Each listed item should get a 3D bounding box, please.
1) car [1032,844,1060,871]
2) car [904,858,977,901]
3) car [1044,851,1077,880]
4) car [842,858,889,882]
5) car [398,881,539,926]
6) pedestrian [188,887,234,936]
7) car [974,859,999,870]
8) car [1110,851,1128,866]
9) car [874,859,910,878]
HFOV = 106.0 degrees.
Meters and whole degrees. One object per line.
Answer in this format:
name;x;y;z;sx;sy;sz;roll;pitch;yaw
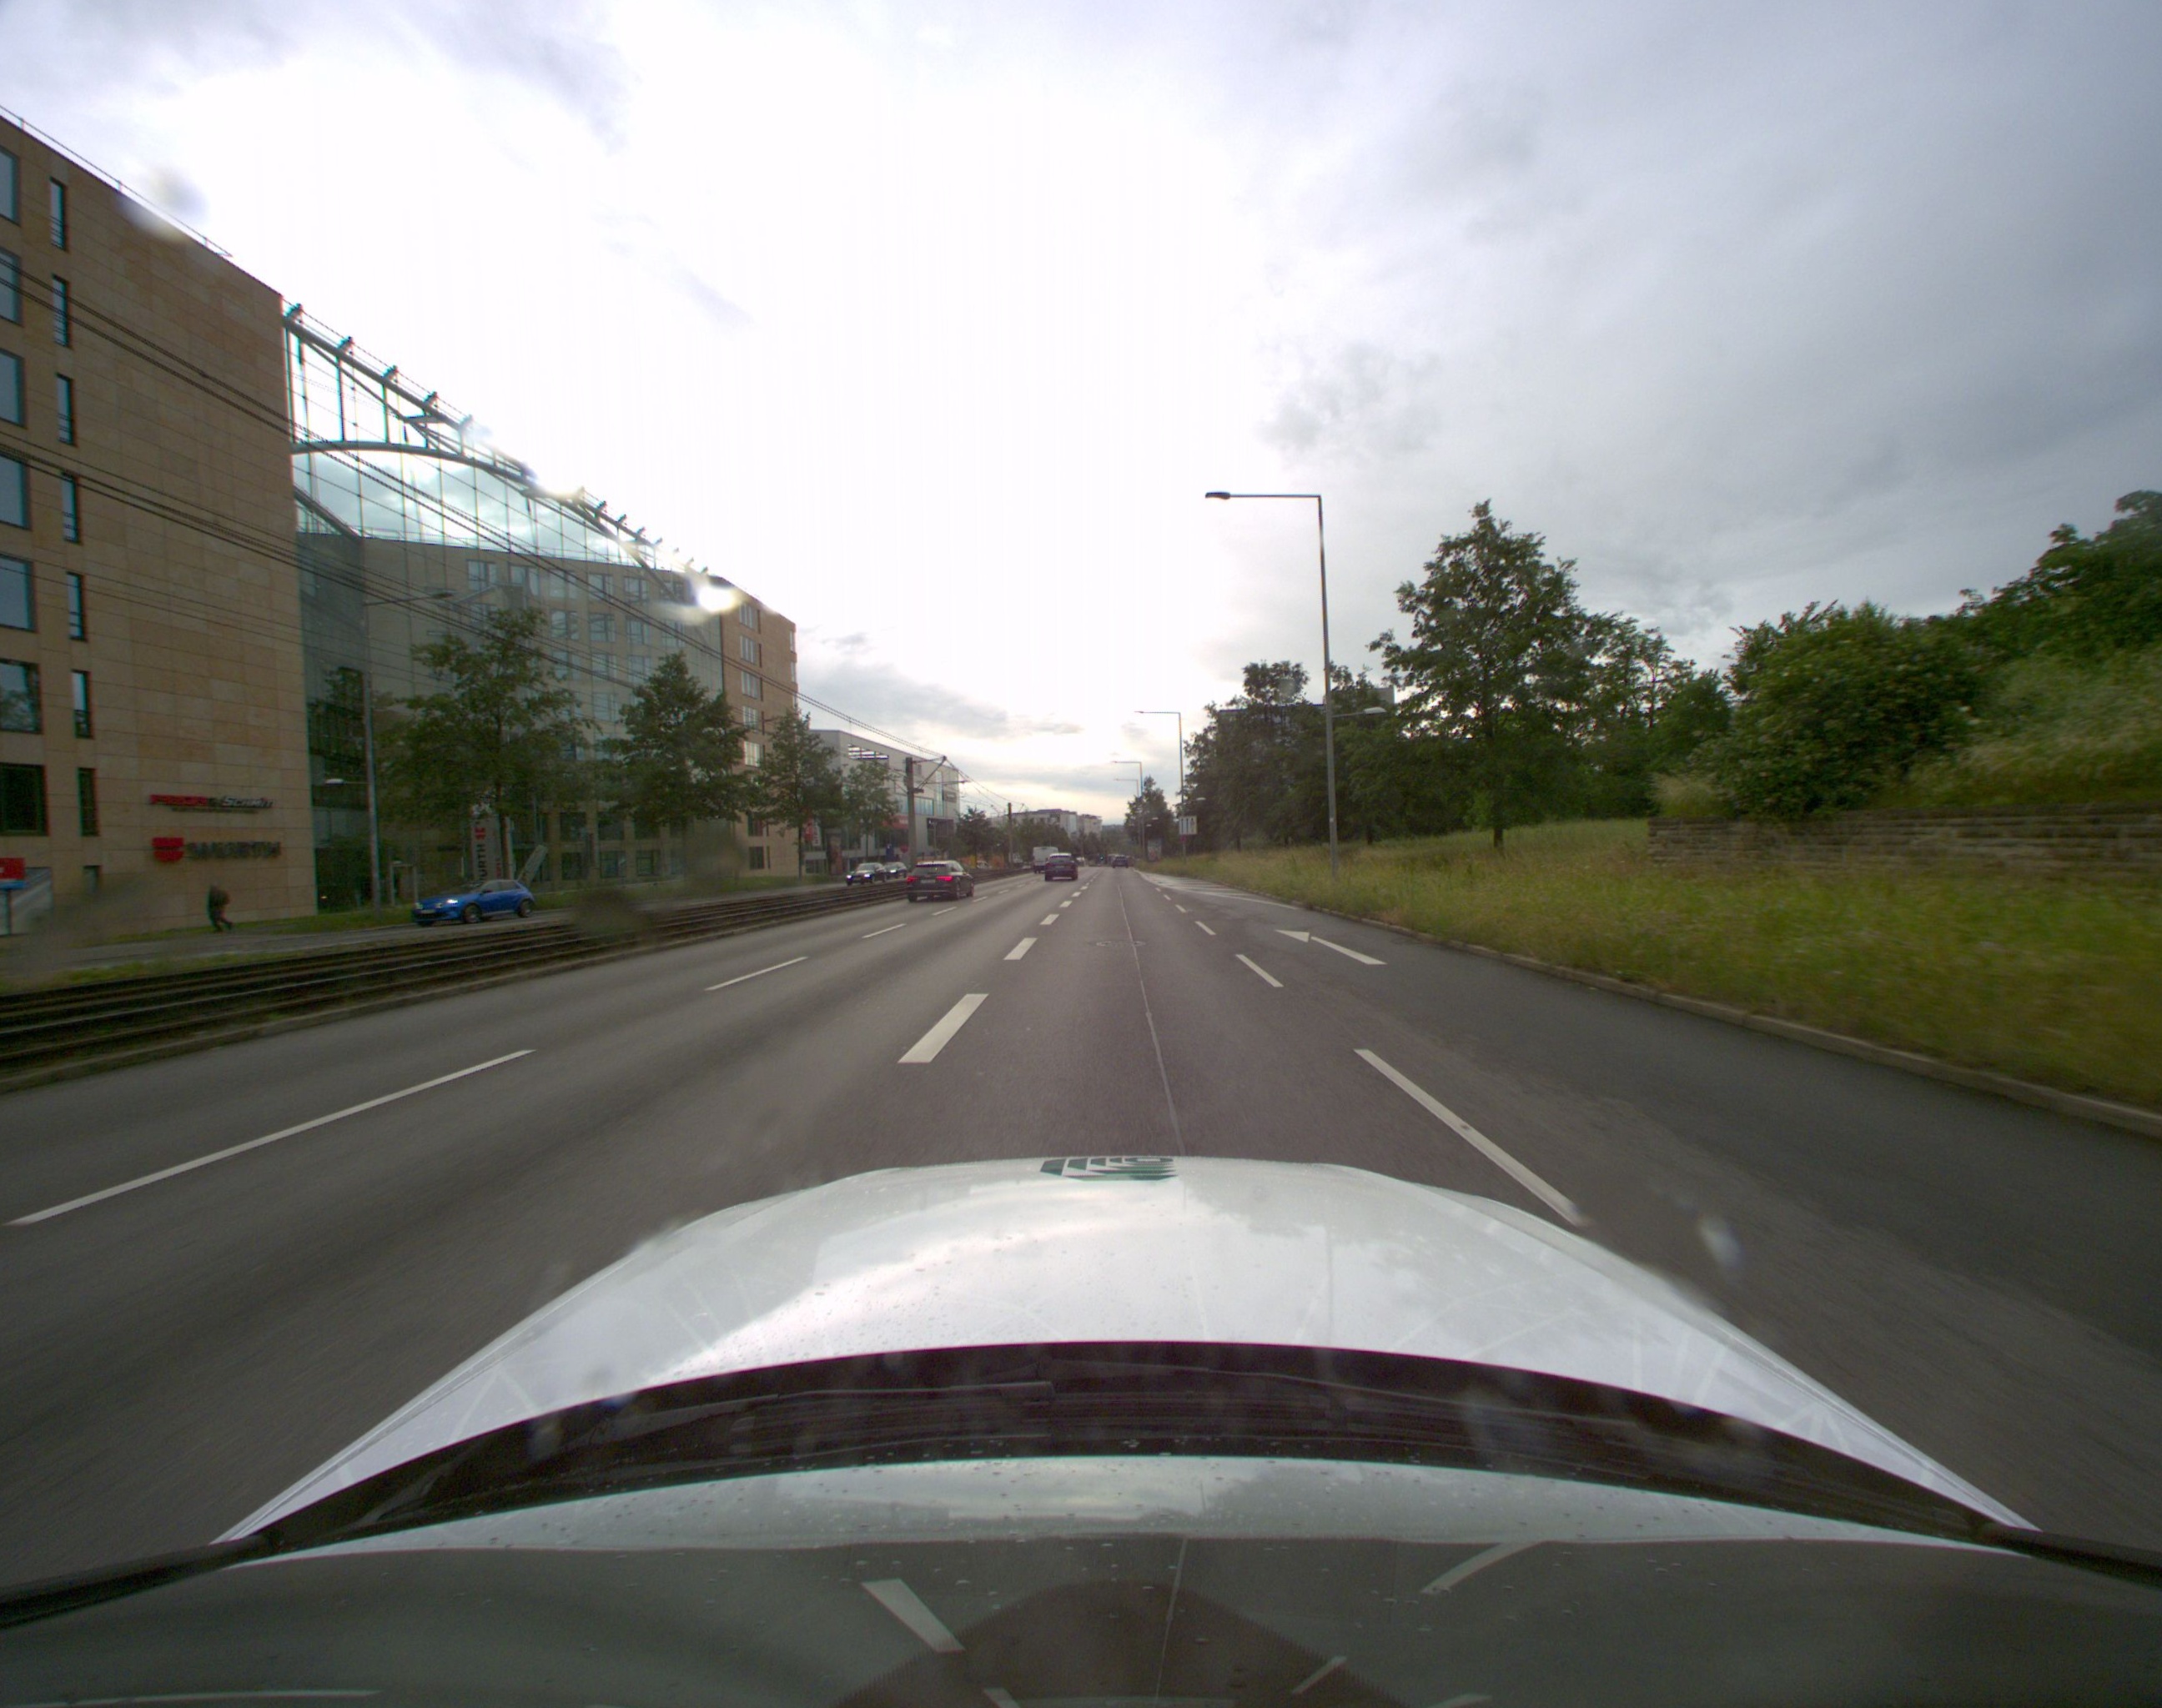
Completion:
car;-3.055;0.331;72.040;2.261;2.285;4.758;-1;0;-1
car;-5.101;0.888;30.160;1.779;1.414;4.806;-1;0;1
car;-1.212;0.678;49.785;1.917;1.710;4.096;-1;0;-1
car;-14.380;1.101;54.612;1.764;1.502;4.204;-1;-2;4
car;-21.741;1.730;29.126;1.833;1.454;4.026;-1;-2;3
pedestrian;-29.523;1.947;27.648;0.640;1.632;0.831;-1;-2;-1
car;-20.958;2.345;180.057;5.289;2.313;2.018;-1;-2;-2
car;4.307;0.555;92.424;1.784;1.591;3.998;-3;-1;-1
car;-16.858;1.286;72.760;1.834;1.486;4.657;-5;0;3
